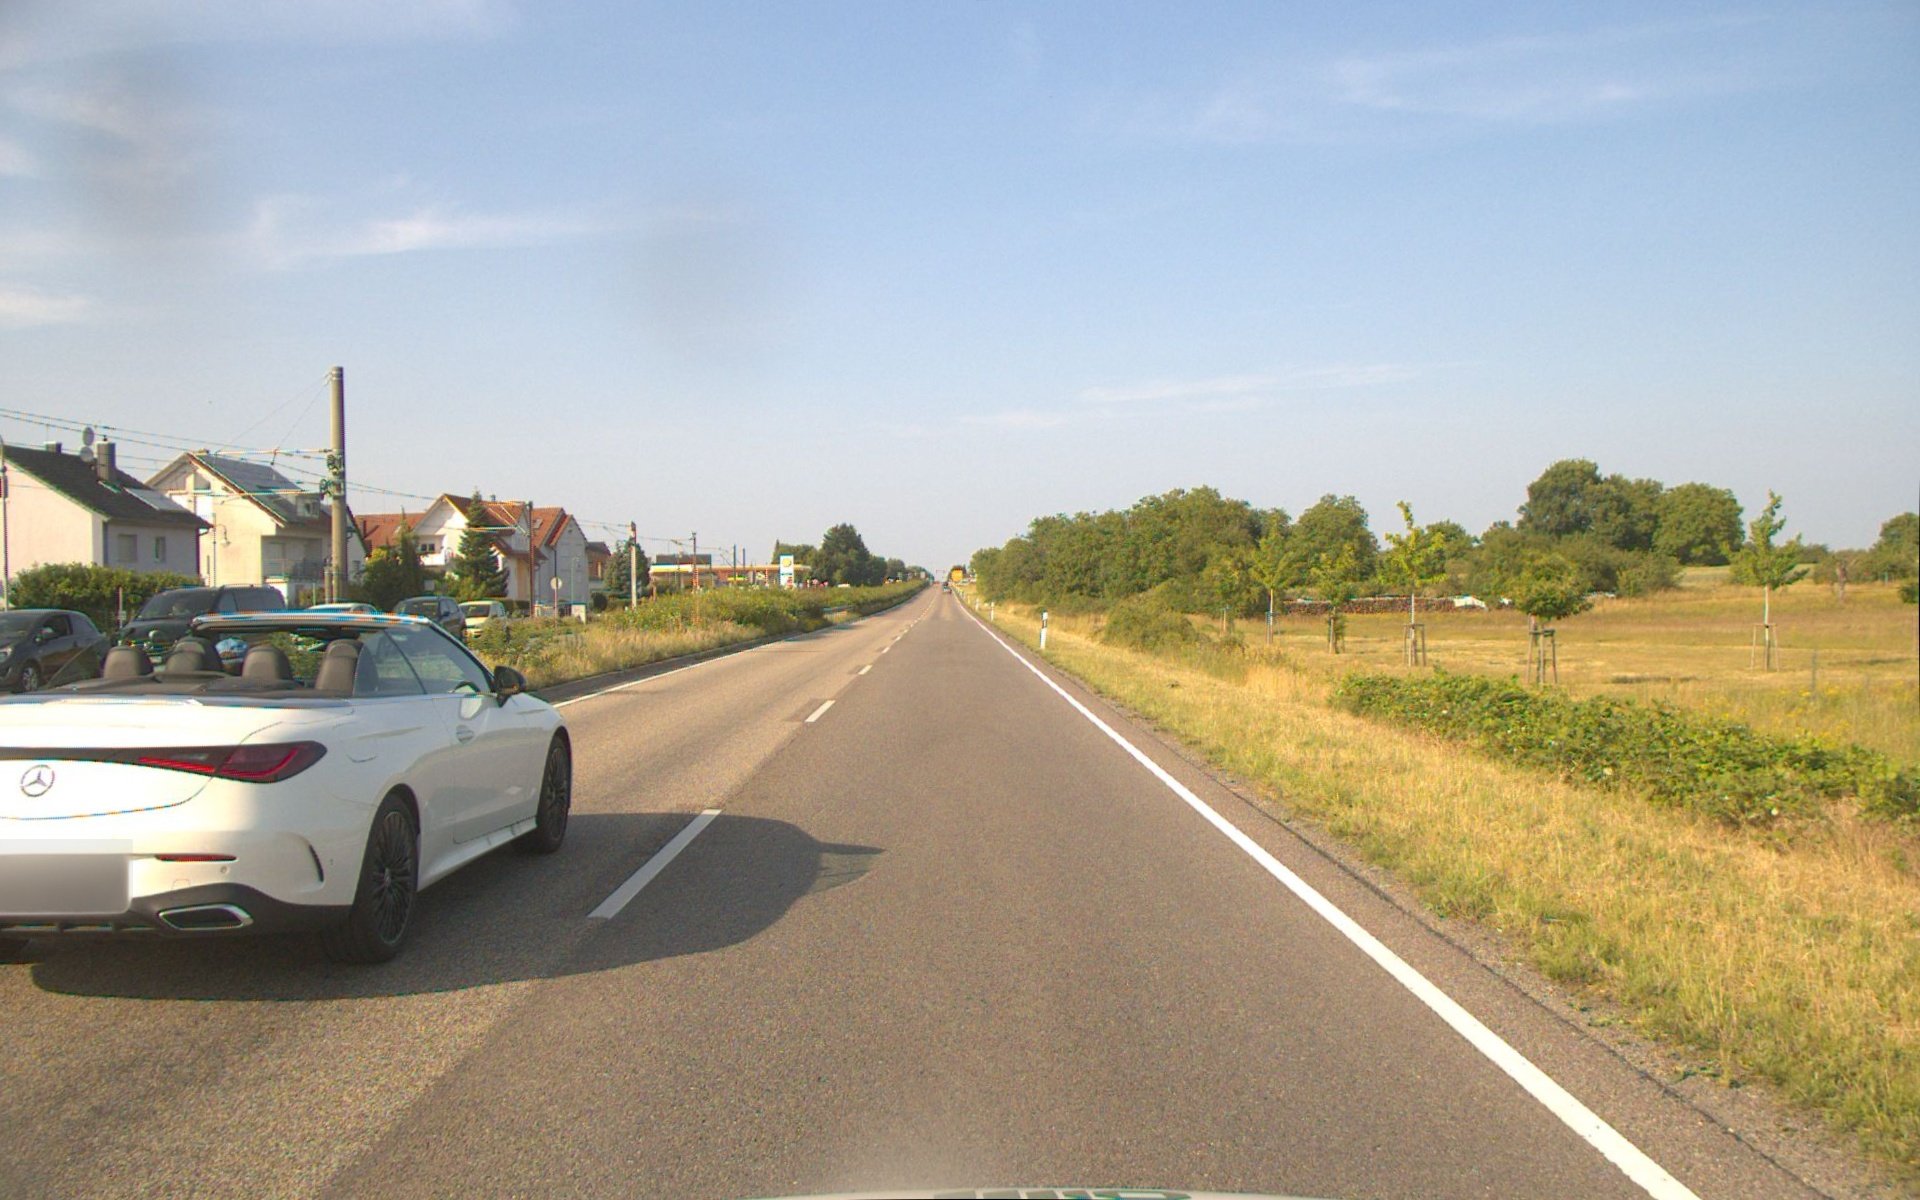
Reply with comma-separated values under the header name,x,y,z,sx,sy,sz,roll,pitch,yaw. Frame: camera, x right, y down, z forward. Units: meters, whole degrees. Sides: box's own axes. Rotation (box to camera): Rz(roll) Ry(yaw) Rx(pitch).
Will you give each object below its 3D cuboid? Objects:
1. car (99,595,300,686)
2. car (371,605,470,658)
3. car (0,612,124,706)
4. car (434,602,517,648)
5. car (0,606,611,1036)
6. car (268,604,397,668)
name,x,y,z,sx,sy,sz,roll,pitch,yaw
car,-16.148,0.795,35.468,1.876,1.712,5.253,-2,0,-1
car,-16.434,0.934,50.571,1.626,1.456,4.325,-2,0,-1
car,-16.228,0.998,28.470,1.626,1.456,4.056,-2,0,-1
car,-16.804,0.834,57.545,1.626,1.456,4.325,-2,0,-1
car,-3.066,0.740,7.941,1.735,1.361,4.949,1,0,0
car,-16.165,0.888,42.827,1.626,1.456,4.447,-2,0,-1
